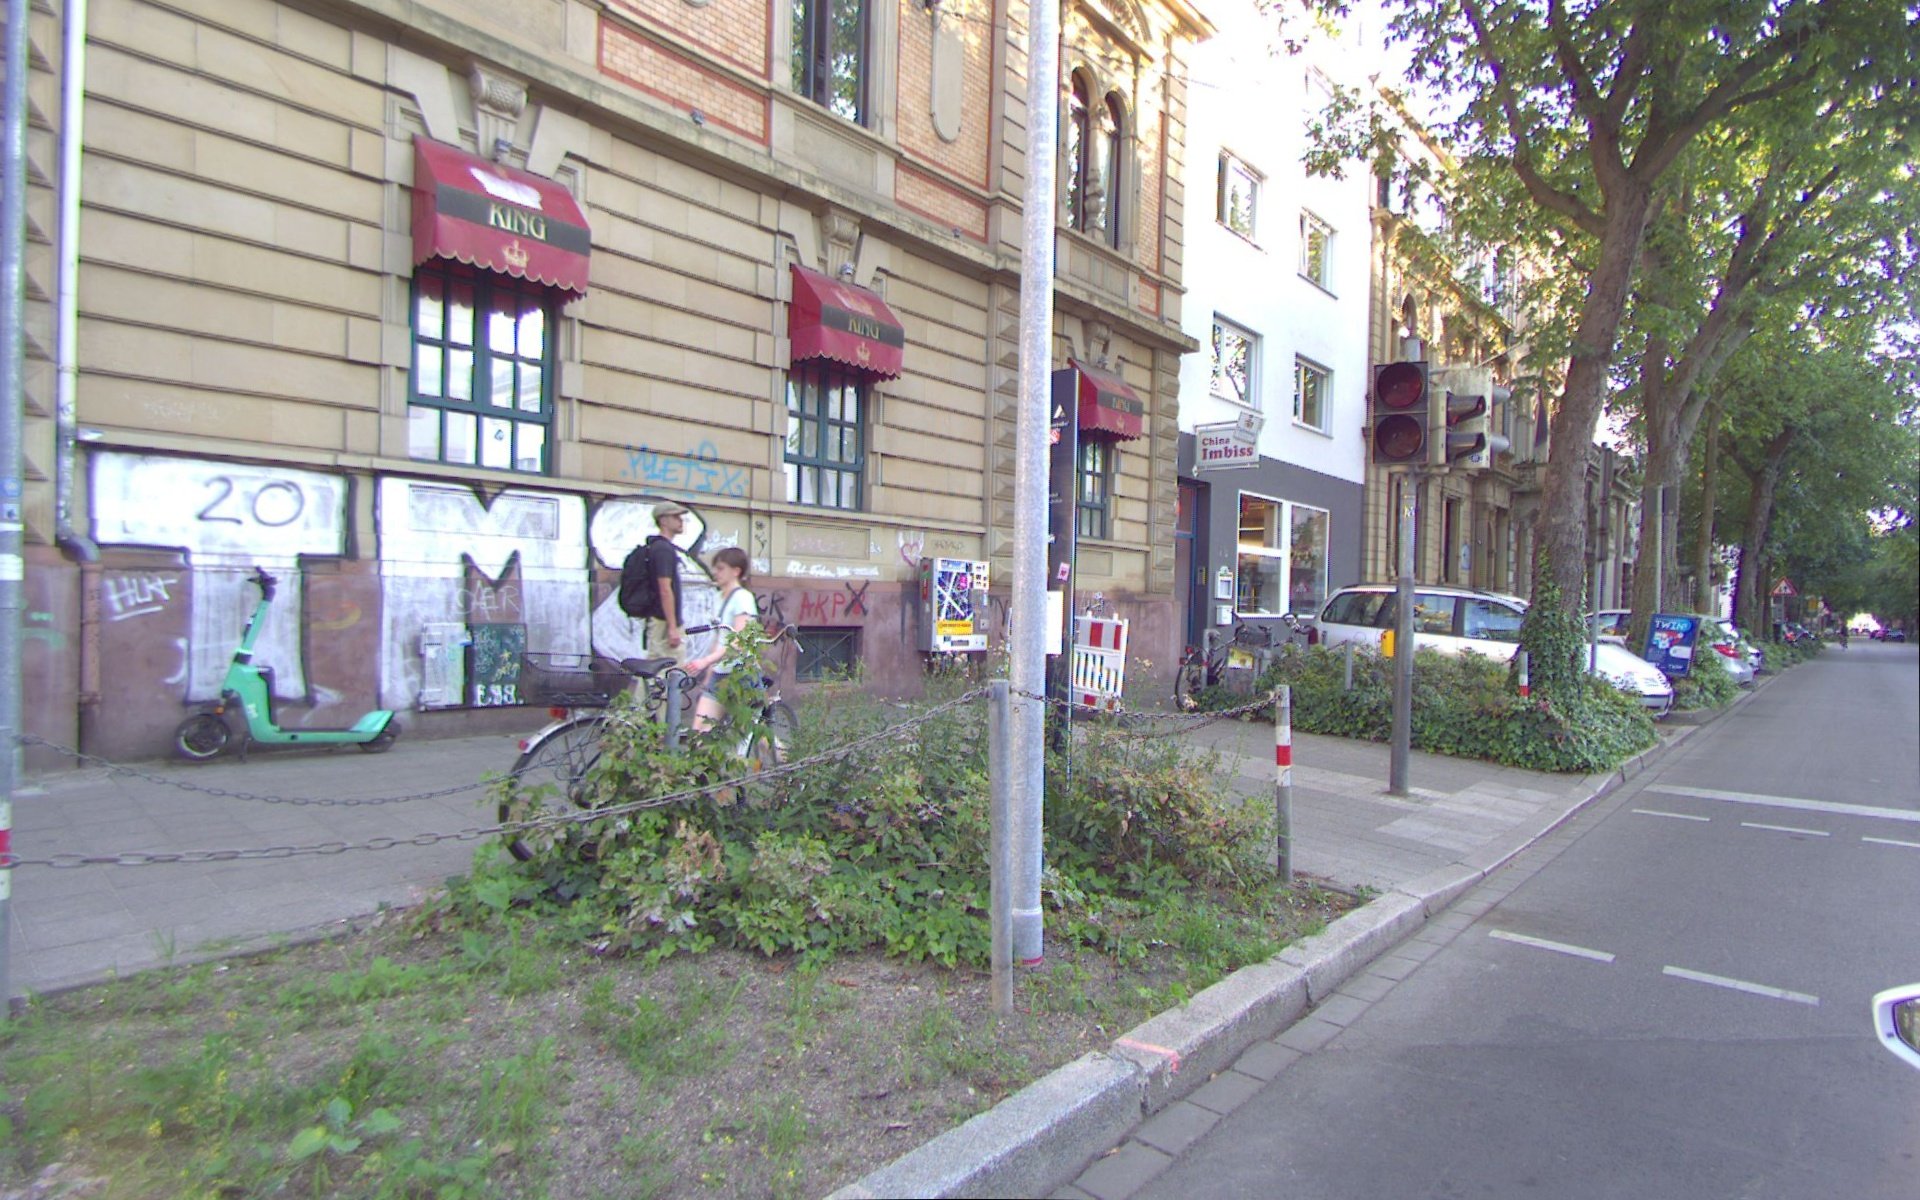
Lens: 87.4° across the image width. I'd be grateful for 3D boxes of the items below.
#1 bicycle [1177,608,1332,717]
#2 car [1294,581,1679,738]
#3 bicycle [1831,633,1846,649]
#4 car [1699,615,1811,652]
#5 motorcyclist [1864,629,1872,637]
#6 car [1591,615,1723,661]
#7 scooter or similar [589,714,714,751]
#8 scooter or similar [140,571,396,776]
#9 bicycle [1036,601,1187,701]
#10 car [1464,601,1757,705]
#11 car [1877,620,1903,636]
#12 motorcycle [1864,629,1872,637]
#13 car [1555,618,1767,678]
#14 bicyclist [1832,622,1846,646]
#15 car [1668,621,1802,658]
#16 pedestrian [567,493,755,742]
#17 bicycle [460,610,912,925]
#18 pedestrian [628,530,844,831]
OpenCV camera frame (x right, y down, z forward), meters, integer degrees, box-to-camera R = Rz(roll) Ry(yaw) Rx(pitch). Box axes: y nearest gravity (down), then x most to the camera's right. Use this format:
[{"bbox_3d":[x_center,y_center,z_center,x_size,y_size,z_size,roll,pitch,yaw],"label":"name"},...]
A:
[{"bbox_3d":[3.742,0.734,12.588,0.726,1.202,2.619,4,1,43],"label":"bicycle"},{"bbox_3d":[7.245,0.700,14.094,4.494,1.859,1.824,1,0,40],"label":"car"},{"bbox_3d":[55.803,2.617,63.811,0.564,0.962,1.738,2,0,36],"label":"bicycle"},{"bbox_3d":[42.189,1.736,53.339,4.499,1.714,1.822,2,0,44],"label":"car"},{"bbox_3d":[136.946,4.960,151.443,0.809,1.253,0.846,3,1,42],"label":"motorcyclist"},{"bbox_3d":[27.139,1.431,39.159,3.995,1.611,1.822,1,0,43],"label":"car"},{"bbox_3d":[-2.368,1.010,7.716,0.870,0.210,0.415,3,2,-25],"label":"scooter or similar"},{"bbox_3d":[-4.352,0.443,6.381,1.275,1.183,0.435,2,2,-36],"label":"scooter or similar"},{"bbox_3d":[2.083,0.650,13.456,0.630,1.218,2.548,1,0,43],"label":"bicycle"},{"bbox_3d":[12.459,0.927,19.435,4.499,1.711,1.822,1,0,44],"label":"car"},{"bbox_3d":[100.038,3.036,108.054,1.804,1.582,4.007,3,1,41],"label":"car"},{"bbox_3d":[137.003,4.966,151.505,0.809,1.253,2.014,3,1,42],"label":"motorcycle"},{"bbox_3d":[18.986,1.240,27.338,4.499,1.390,1.822,1,0,44],"label":"car"},{"bbox_3d":[55.826,2.163,63.812,0.564,1.489,0.640,2,0,36],"label":"bicyclist"},{"bbox_3d":[33.909,1.688,44.029,4.499,1.428,1.822,1,0,44],"label":"car"},{"bbox_3d":[-2.312,0.126,7.734,1.249,1.762,0.845,1,2,-25],"label":"pedestrian"},{"bbox_3d":[-1.160,0.650,4.743,0.505,1.169,2.090,4,2,42],"label":"bicycle"},{"bbox_3d":[-1.302,0.423,5.811,0.970,1.578,0.694,2,2,-34],"label":"pedestrian"}]
